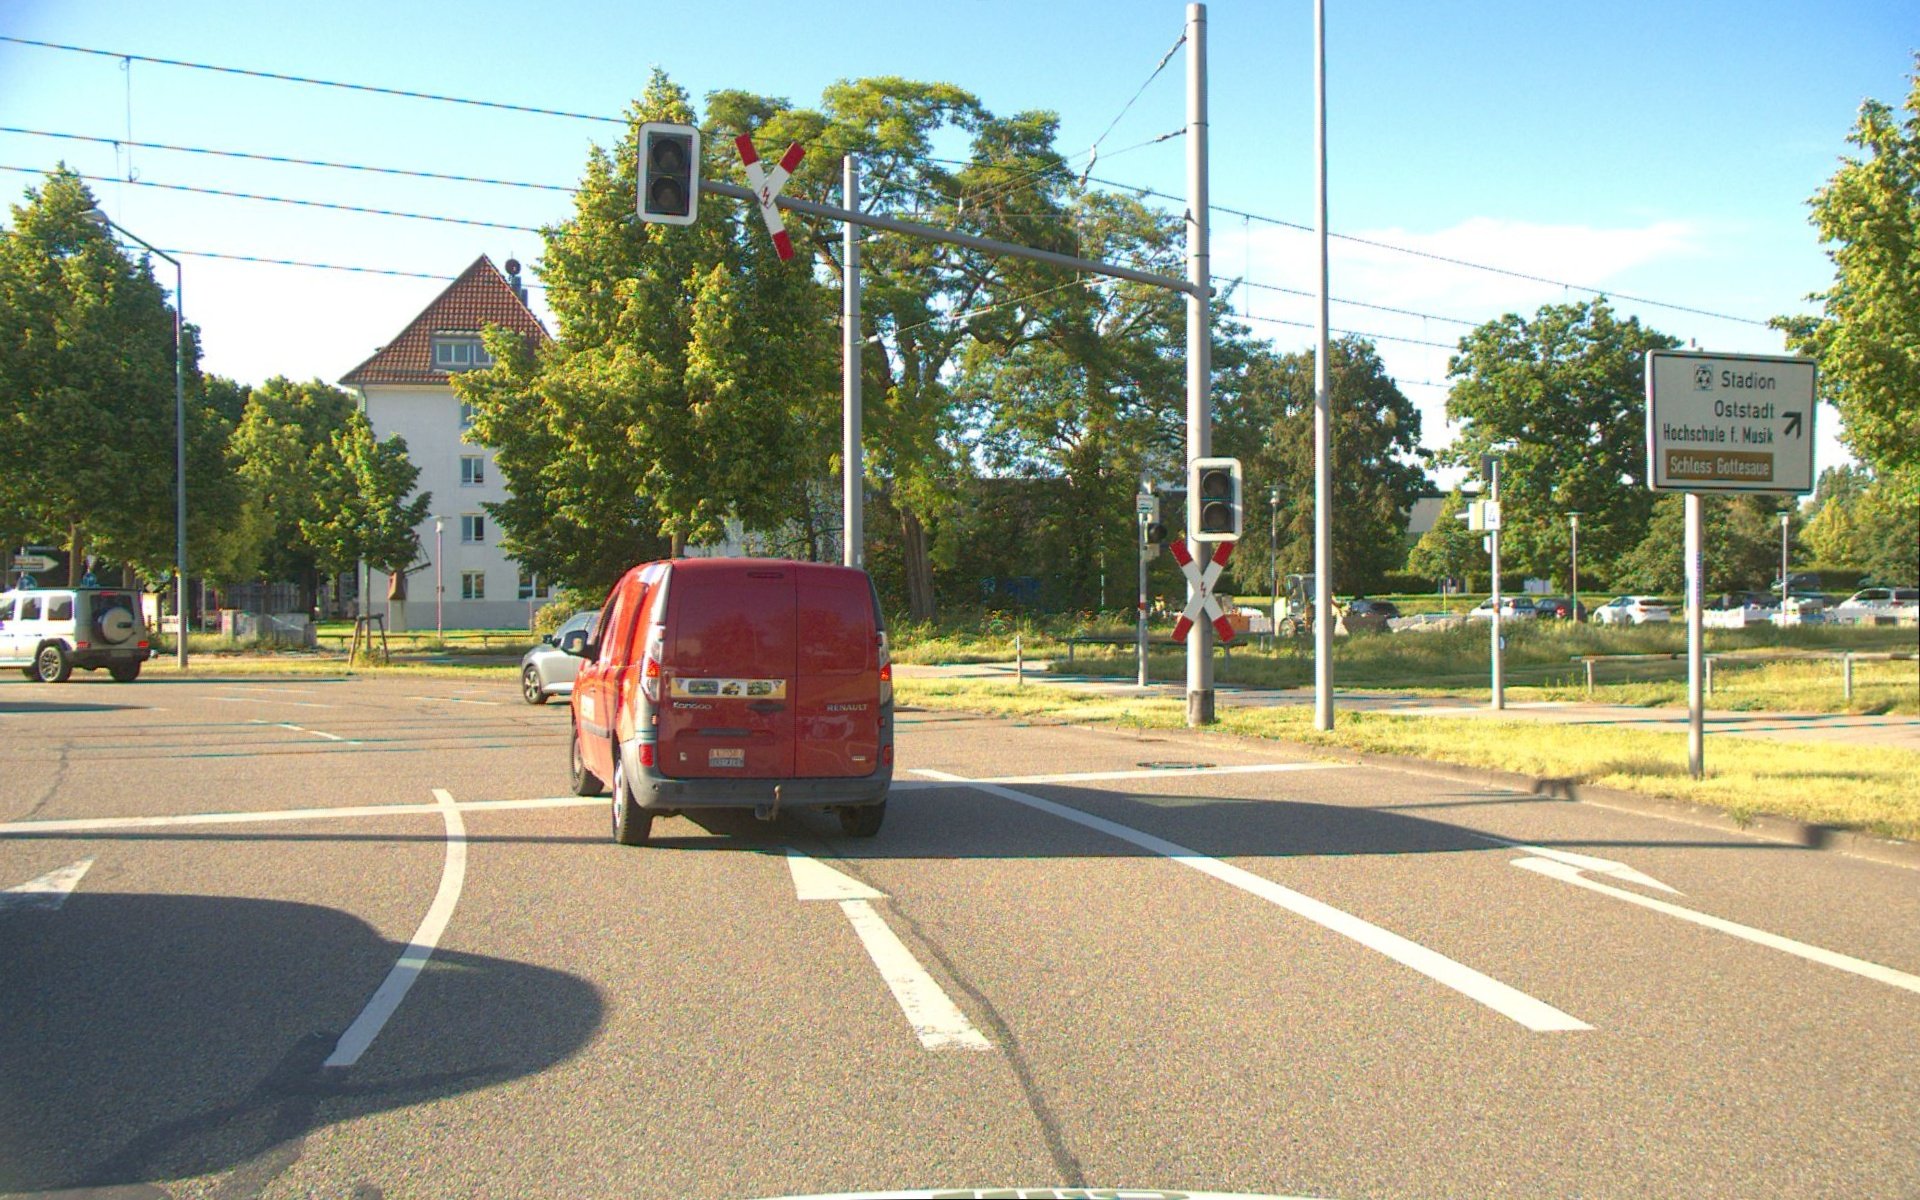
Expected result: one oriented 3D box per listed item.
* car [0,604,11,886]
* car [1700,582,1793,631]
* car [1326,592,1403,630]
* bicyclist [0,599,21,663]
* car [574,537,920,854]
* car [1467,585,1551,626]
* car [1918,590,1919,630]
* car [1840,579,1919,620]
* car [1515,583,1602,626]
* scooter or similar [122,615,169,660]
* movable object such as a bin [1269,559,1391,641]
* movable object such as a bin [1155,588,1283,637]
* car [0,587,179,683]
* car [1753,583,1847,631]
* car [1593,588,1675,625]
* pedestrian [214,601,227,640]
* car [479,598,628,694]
[{"bbox_3d":[-5.264,0.720,6.018,1.728,1.404,4.348,1,0,-10],"label":"car"},{"bbox_3d":[36.679,0.333,77.250,1.957,2.136,3.989,0,-2,-10],"label":"car"},{"bbox_3d":[17.833,0.506,73.143,1.885,1.584,3.940,0,-2,-10],"label":"car"},{"bbox_3d":[-28.526,0.923,48.887,1.001,1.885,0.813,0,-2,6],"label":"bicyclist"},{"bbox_3d":[-1.669,0.561,11.704,1.774,1.845,3.791,1,0,-18],"label":"car"},{"bbox_3d":[24.982,0.276,75.410,1.957,1.754,3.989,0,-2,-10],"label":"car"},{"bbox_3d":[48.680,0.439,79.969,1.957,1.994,3.989,0,-2,-10],"label":"car"},{"bbox_3d":[44.000,0.005,78.901,1.657,1.811,3.841,0,-2,-7],"label":"car"},{"bbox_3d":[27.170,0.238,75.234,1.957,1.800,3.989,0,-2,-10],"label":"car"},{"bbox_3d":[-23.948,1.109,48.650,1.233,1.270,0.445,-2,-2,12],"label":"scooter or similar"},{"bbox_3d":[13.520,0.079,60.756,1.965,2.838,5.016,1,-2,-21],"label":"movable object such as a bin"},{"bbox_3d":[11.006,0.545,70.255,4.928,1.982,2.228,1,-2,-19],"label":"movable object such as a bin"},{"bbox_3d":[-19.124,0.753,35.355,4.645,1.930,2.001,-1,-1,27],"label":"car"},{"bbox_3d":[39.494,0.352,77.860,1.957,2.136,3.989,0,-2,-10],"label":"car"},{"bbox_3d":[31.118,0.317,76.461,1.793,1.583,3.799,0,-2,-9],"label":"car"},{"bbox_3d":[-38.938,1.089,87.109,0.460,2.049,0.455,0,0,-1],"label":"pedestrian"},{"bbox_3d":[-6.786,0.752,27.326,1.692,1.461,4.119,0,-2,-24],"label":"car"}]
